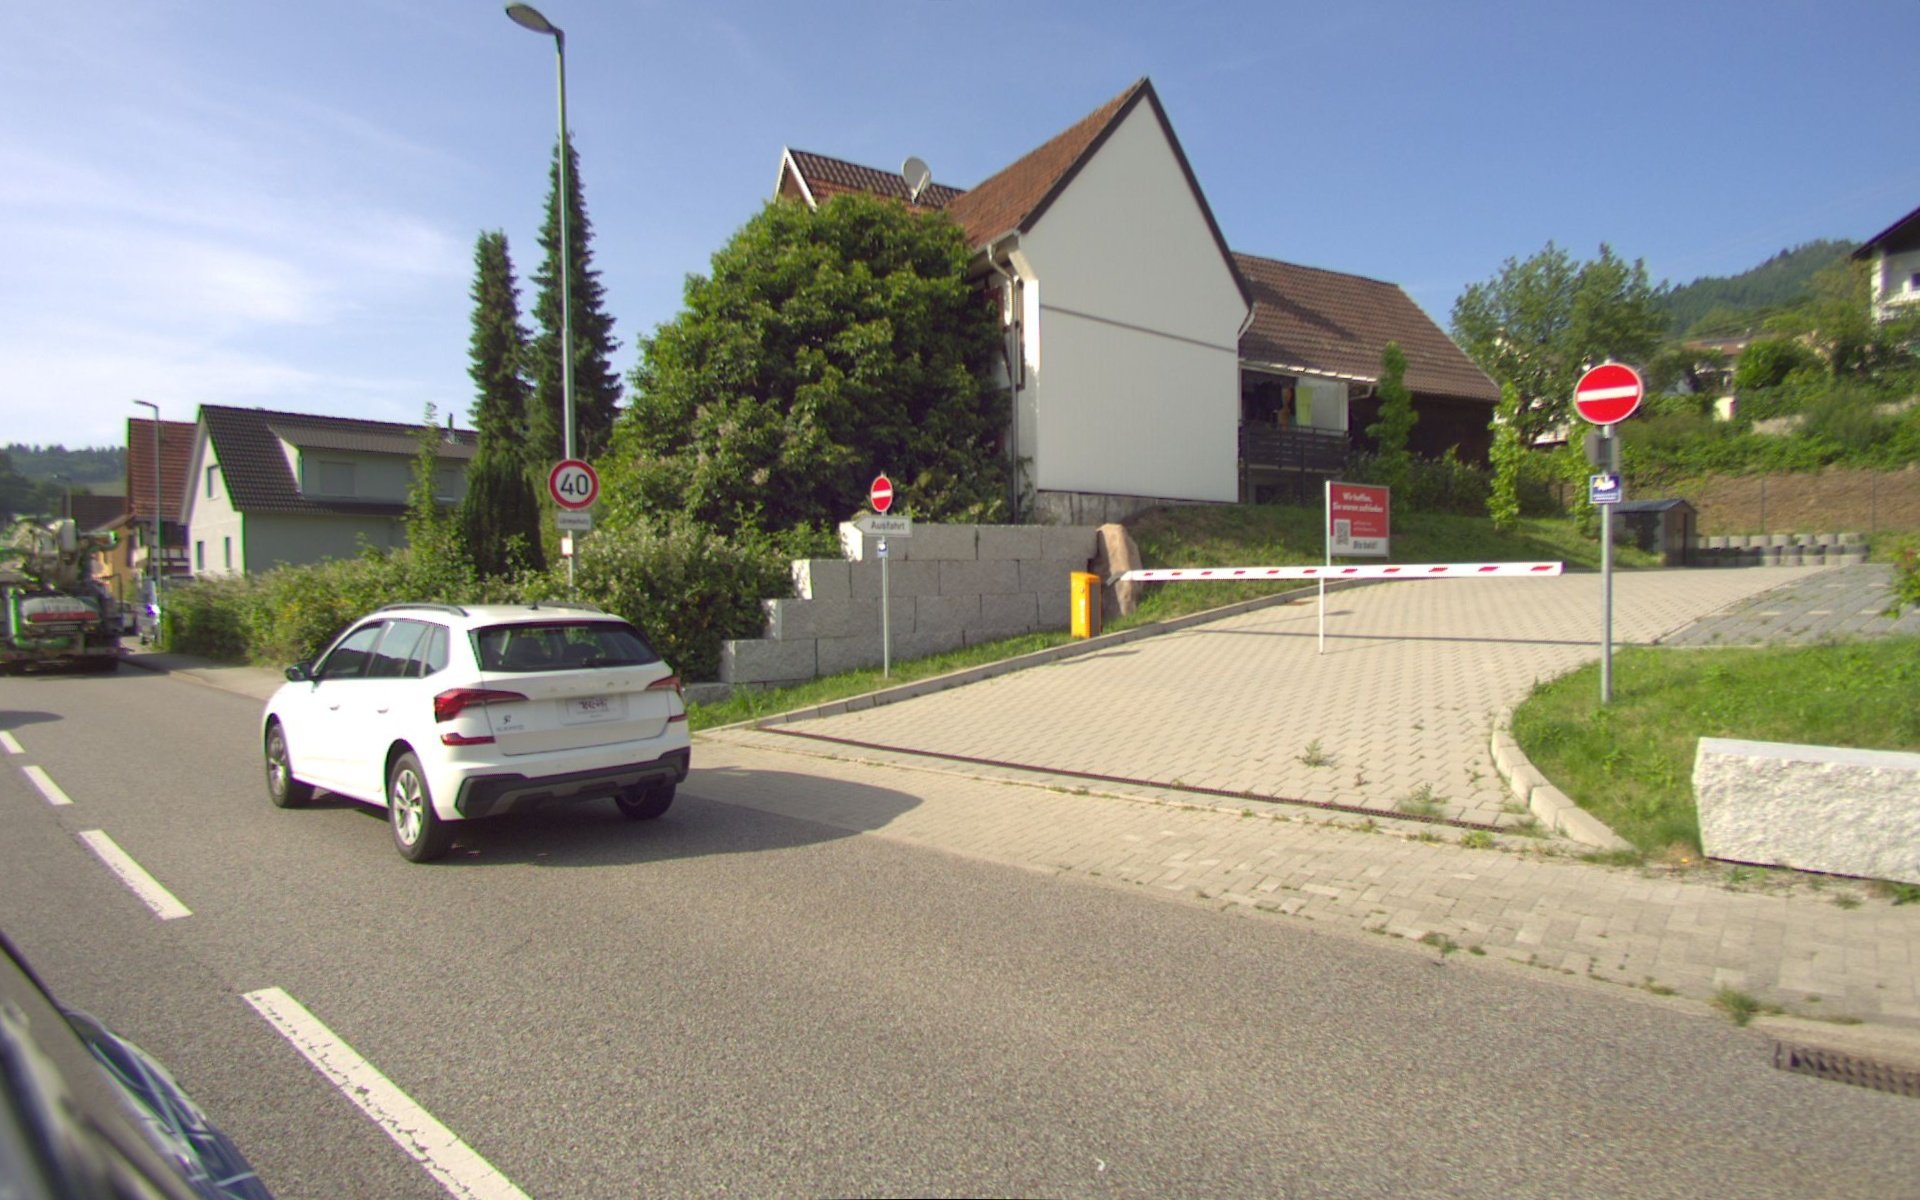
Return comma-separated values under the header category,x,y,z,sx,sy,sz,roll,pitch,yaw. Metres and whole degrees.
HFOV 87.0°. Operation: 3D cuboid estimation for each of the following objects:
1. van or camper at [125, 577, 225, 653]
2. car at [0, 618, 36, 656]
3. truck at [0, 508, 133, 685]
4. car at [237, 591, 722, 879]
category,x,y,z,sx,sy,sz,roll,pitch,yaw
van or camper,-29.042,0.508,37.349,5.904,2.574,2.124,-1,1,45
car,-39.298,1.504,41.566,4.001,1.413,1.695,0,1,44
truck,-24.845,-0.035,27.350,11.309,3.961,2.549,-1,0,44
car,-3.697,0.745,7.397,4.189,1.515,1.730,-1,-1,42
